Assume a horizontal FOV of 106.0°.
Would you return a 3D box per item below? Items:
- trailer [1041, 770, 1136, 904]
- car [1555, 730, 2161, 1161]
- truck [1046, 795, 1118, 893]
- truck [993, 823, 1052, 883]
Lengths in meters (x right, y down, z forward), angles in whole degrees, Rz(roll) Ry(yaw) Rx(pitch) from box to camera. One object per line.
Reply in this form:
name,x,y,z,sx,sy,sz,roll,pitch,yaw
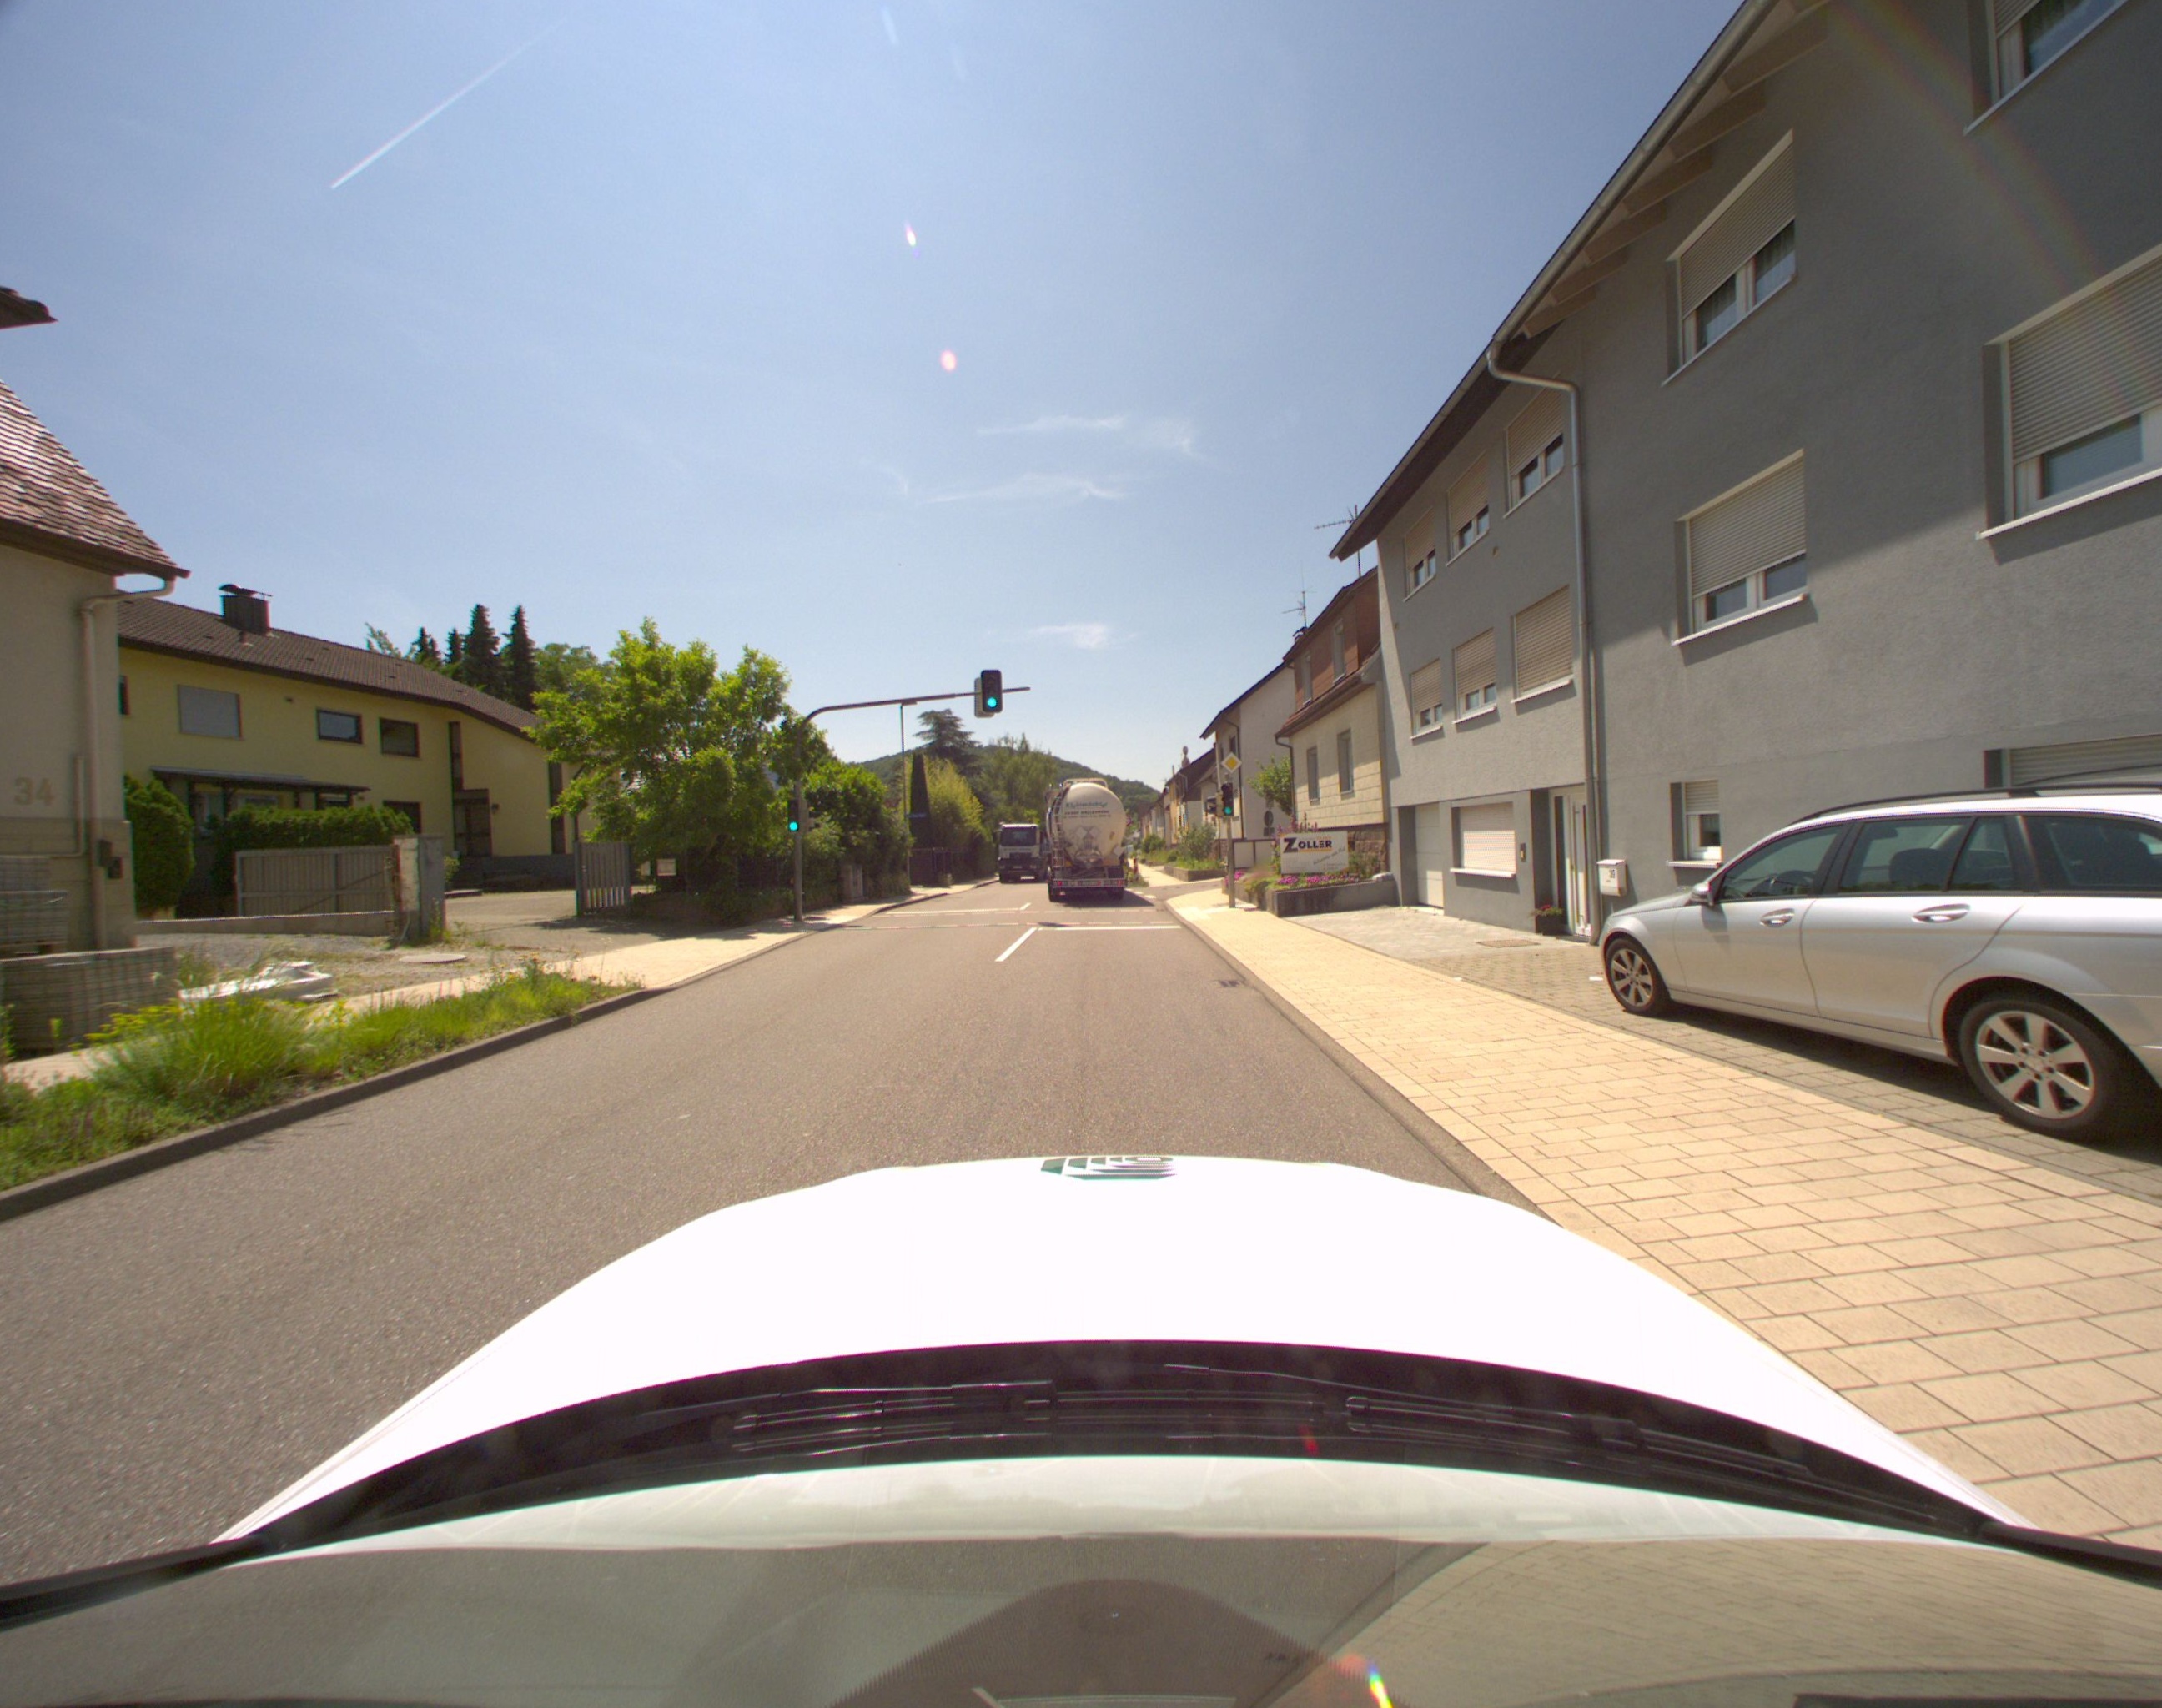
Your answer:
trailer,0.102,-0.503,29.721,2.788,4.001,10.317,-1,0,-1
car,4.840,0.242,4.569,1.783,1.541,4.524,-8,-1,4
truck,-0.096,-0.405,36.104,2.802,3.937,6.091,-1,0,-3
truck,-3.508,-0.052,50.649,2.718,3.371,8.638,-1,0,2
